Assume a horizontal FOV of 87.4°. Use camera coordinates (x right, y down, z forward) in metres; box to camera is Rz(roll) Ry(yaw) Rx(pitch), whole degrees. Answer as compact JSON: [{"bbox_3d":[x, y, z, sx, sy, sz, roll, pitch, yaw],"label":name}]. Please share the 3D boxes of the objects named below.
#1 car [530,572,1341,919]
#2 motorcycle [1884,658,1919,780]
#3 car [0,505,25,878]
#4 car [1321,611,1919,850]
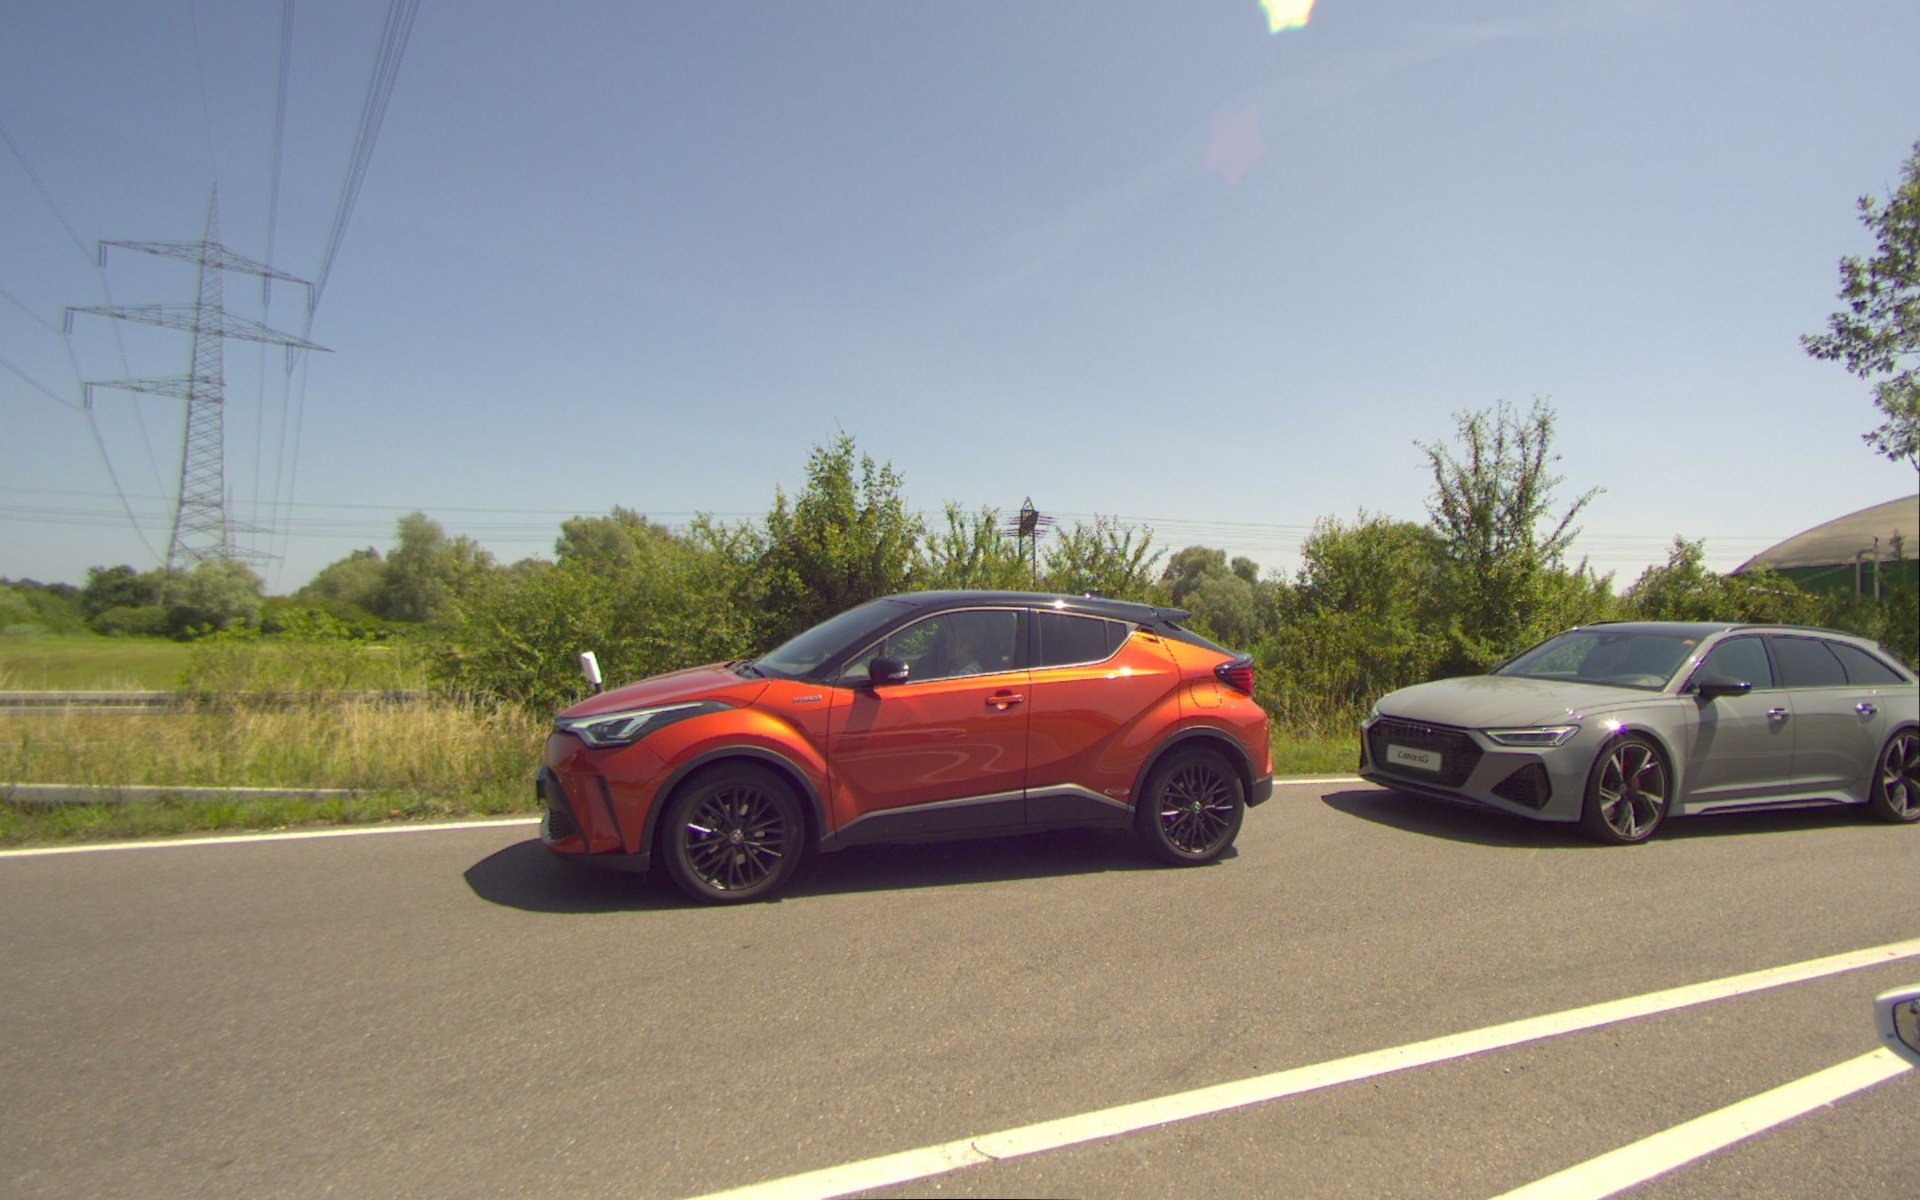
[{"bbox_3d":[-0.121,0.691,6.000,4.323,1.536,1.797,1,0,-19],"label":"car"},{"bbox_3d":[10.225,1.166,9.762,2.392,1.138,0.781,2,0,-19],"label":"motorcycle"},{"bbox_3d":[-6.545,0.403,3.477,4.371,1.856,1.924,1,-1,-20],"label":"car"},{"bbox_3d":[5.396,0.888,7.862,4.734,1.479,1.839,2,-1,-19],"label":"car"}]
